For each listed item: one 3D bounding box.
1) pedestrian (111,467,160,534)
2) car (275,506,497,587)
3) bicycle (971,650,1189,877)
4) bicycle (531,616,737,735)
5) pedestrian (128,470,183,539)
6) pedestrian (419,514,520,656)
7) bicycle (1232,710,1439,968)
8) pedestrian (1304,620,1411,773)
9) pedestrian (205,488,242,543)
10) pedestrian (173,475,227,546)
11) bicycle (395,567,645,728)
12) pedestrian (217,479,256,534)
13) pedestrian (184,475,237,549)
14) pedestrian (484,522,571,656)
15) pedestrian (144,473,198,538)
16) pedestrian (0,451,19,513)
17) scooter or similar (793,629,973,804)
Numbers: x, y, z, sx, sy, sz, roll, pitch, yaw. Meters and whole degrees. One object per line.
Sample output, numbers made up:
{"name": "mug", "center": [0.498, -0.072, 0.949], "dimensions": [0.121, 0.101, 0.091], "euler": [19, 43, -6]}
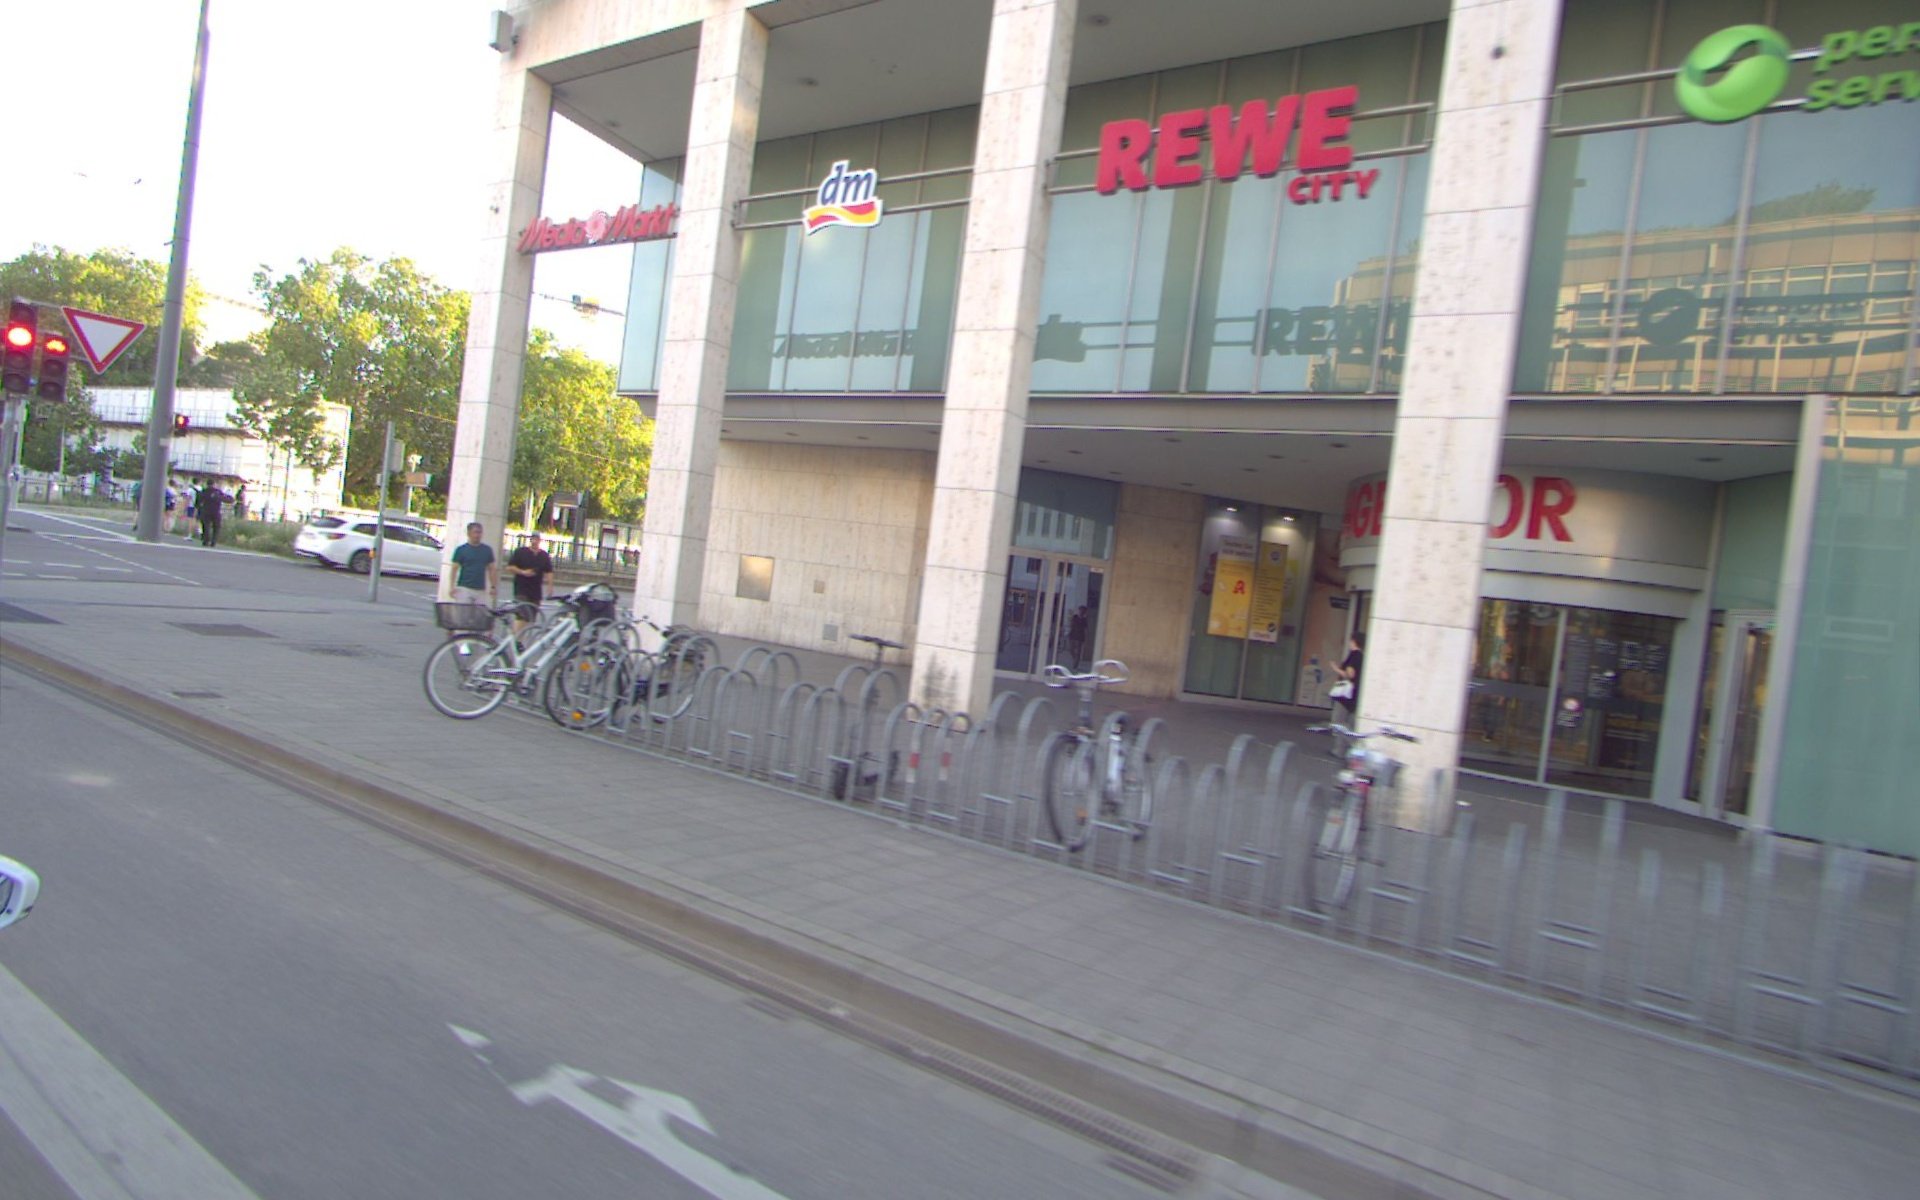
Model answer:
{"name": "pedestrian", "center": [-23.335, -2.821, 28.466], "dimensions": [0.880, 1.752, 0.686], "euler": [8, 2, 31]}
{"name": "car", "center": [-15.618, -1.414, 27.666], "dimensions": [2.092, 1.514, 4.802], "euler": [8, 0, 31]}
{"name": "bicycle", "center": [0.897, 1.040, 6.961], "dimensions": [0.662, 1.276, 1.869], "euler": [8, 1, 30]}
{"name": "bicycle", "center": [-2.965, 0.696, 9.356], "dimensions": [0.508, 0.948, 1.869], "euler": [8, 1, 30]}
{"name": "pedestrian", "center": [-22.289, -2.644, 27.877], "dimensions": [0.676, 1.752, 0.894], "euler": [8, 1, 31]}
{"name": "pedestrian", "center": [-6.613, -0.199, 13.573], "dimensions": [0.728, 1.801, 0.860], "euler": [8, 4, 33]}
{"name": "bicycle", "center": [2.262, 1.284, 5.896], "dimensions": [0.561, 1.128, 1.871], "euler": [8, 2, 35]}
{"name": "pedestrian", "center": [5.213, 1.230, 13.186], "dimensions": [0.974, 1.800, 0.861], "euler": [8, 3, 31]}
{"name": "pedestrian", "center": [-25.415, -2.922, 34.700], "dimensions": [0.825, 1.752, 0.685], "euler": [8, 2, 36]}
{"name": "pedestrian", "center": [-21.536, -2.524, 28.511], "dimensions": [0.676, 1.863, 0.893], "euler": [8, 2, 32]}
{"name": "bicycle", "center": [-3.785, 0.449, 8.760], "dimensions": [1.811, 1.227, 0.563], "euler": [7, 1, -43]}
{"name": "pedestrian", "center": [-24.726, -3.192, 34.394], "dimensions": [0.824, 1.752, 0.686], "euler": [8, 2, 32]}
{"name": "pedestrian", "center": [-20.077, -2.345, 26.954], "dimensions": [0.885, 1.854, 0.683], "euler": [7, 2, -28]}
{"name": "pedestrian", "center": [-6.145, -0.155, 14.295], "dimensions": [0.728, 1.801, 0.756], "euler": [8, 4, 33]}
{"name": "pedestrian", "center": [-23.105, -2.761, 29.480], "dimensions": [0.675, 1.752, 0.896], "euler": [7, 1, 6]}
{"name": "pedestrian", "center": [-28.555, -3.529, 29.836], "dimensions": [0.729, 1.752, 0.692], "euler": [8, 2, 34]}
{"name": "scooter or similar", "center": [-0.570, 0.886, 7.889], "dimensions": [0.662, 1.174, 1.277], "euler": [8, 0, 30]}
